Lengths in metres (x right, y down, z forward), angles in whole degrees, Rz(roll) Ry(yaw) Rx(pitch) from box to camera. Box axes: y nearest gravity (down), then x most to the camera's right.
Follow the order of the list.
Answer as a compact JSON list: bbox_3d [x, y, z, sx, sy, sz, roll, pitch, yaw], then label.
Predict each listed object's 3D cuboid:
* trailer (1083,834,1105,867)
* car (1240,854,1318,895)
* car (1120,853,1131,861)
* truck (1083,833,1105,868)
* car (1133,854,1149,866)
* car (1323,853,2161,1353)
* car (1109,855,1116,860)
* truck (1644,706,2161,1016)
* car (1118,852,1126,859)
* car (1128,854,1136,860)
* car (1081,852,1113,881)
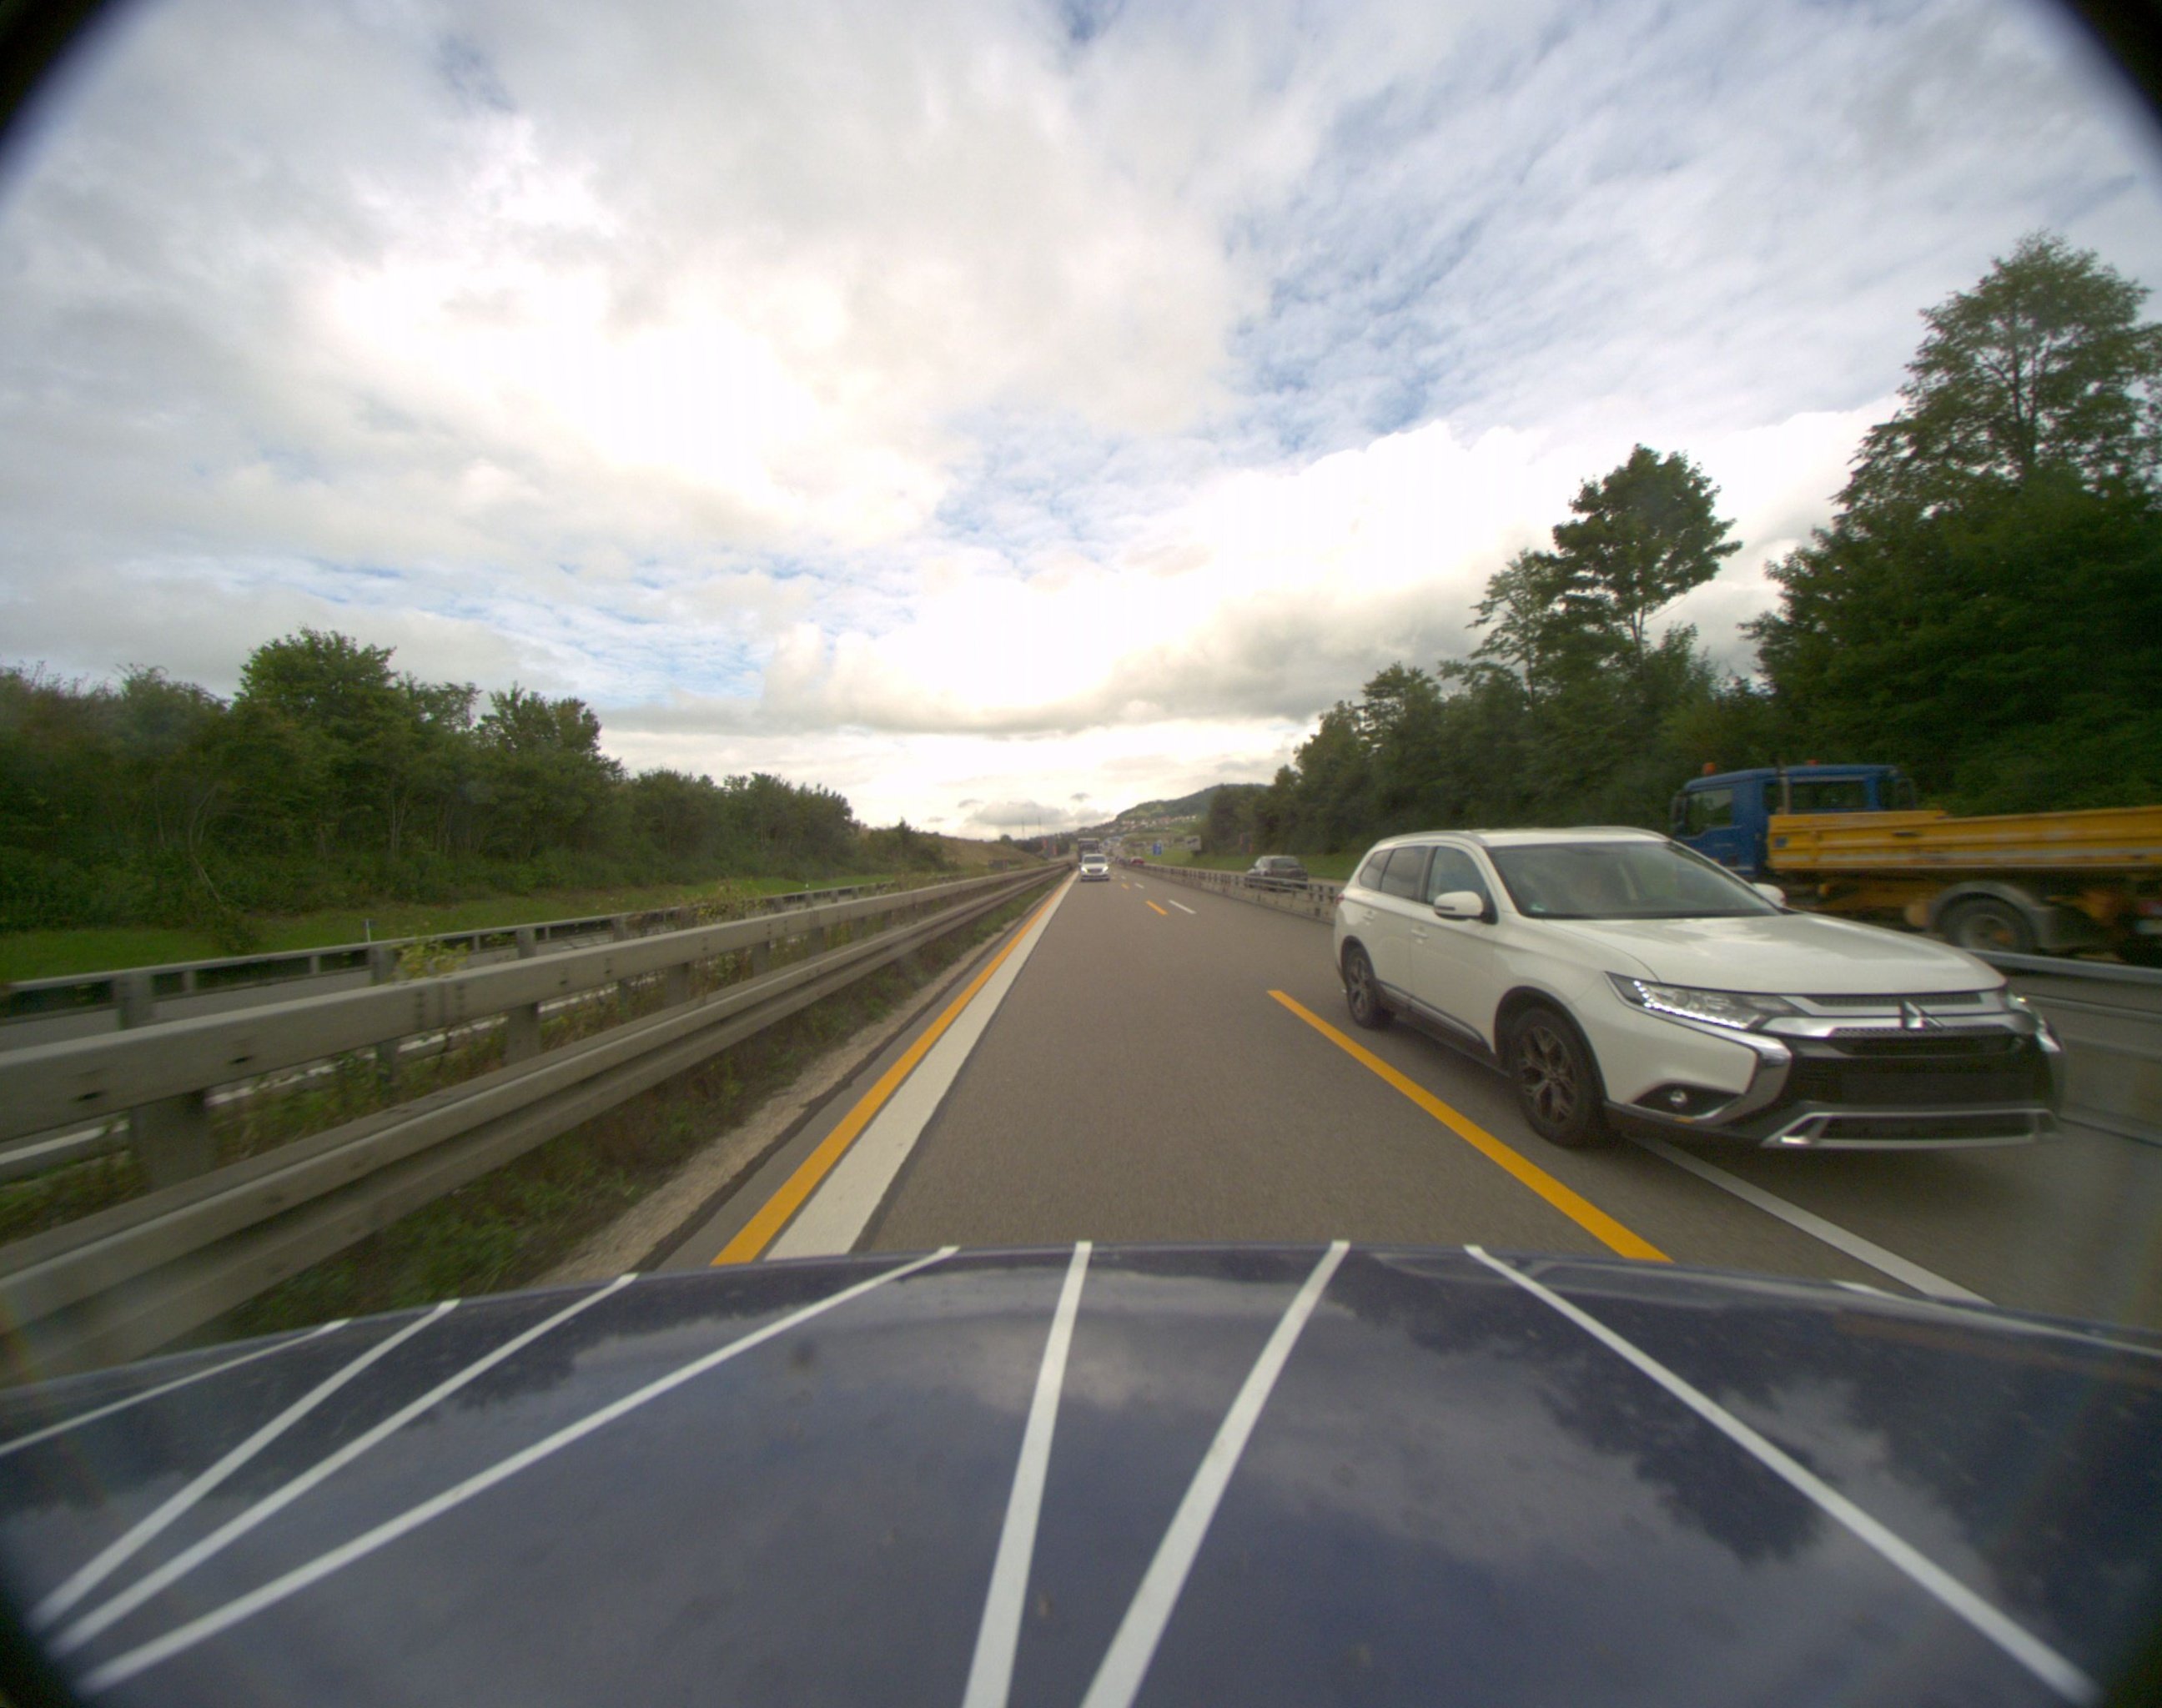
[{"bbox_3d":[1.742,-0.450,99.277,2.521,4.081,11.113,-2,0,1],"label":"trailer"},{"bbox_3d":[8.058,0.774,31.383,1.998,1.498,4.832,-2,0,1],"label":"car"},{"bbox_3d":[9.108,0.595,155.895,2.003,1.490,4.900,-2,0,1],"label":"car"},{"bbox_3d":[1.635,-0.451,93.987,2.521,4.081,5.685,-2,0,1],"label":"truck"},{"bbox_3d":[8.507,0.846,108.220,1.939,1.482,4.589,-3,0,1],"label":"car"},{"bbox_3d":[3.224,0.831,4.804,1.998,1.618,4.607,-1,0,2],"label":"car"},{"bbox_3d":[9.765,1.030,237.529,1.998,1.512,4.953,-1,0,0],"label":"car"},{"bbox_3d":[10.732,0.025,9.474,2.496,2.702,6.667,-2,0,1],"label":"truck"},{"bbox_3d":[13.436,0.579,249.326,1.999,2.239,5.049,-2,0,-1],"label":"car"},{"bbox_3d":[12.348,0.735,185.358,1.673,1.431,3.787,-2,0,1],"label":"car"},{"bbox_3d":[1.085,0.817,52.313,1.991,1.787,4.586,-2,0,1],"label":"car"}]
